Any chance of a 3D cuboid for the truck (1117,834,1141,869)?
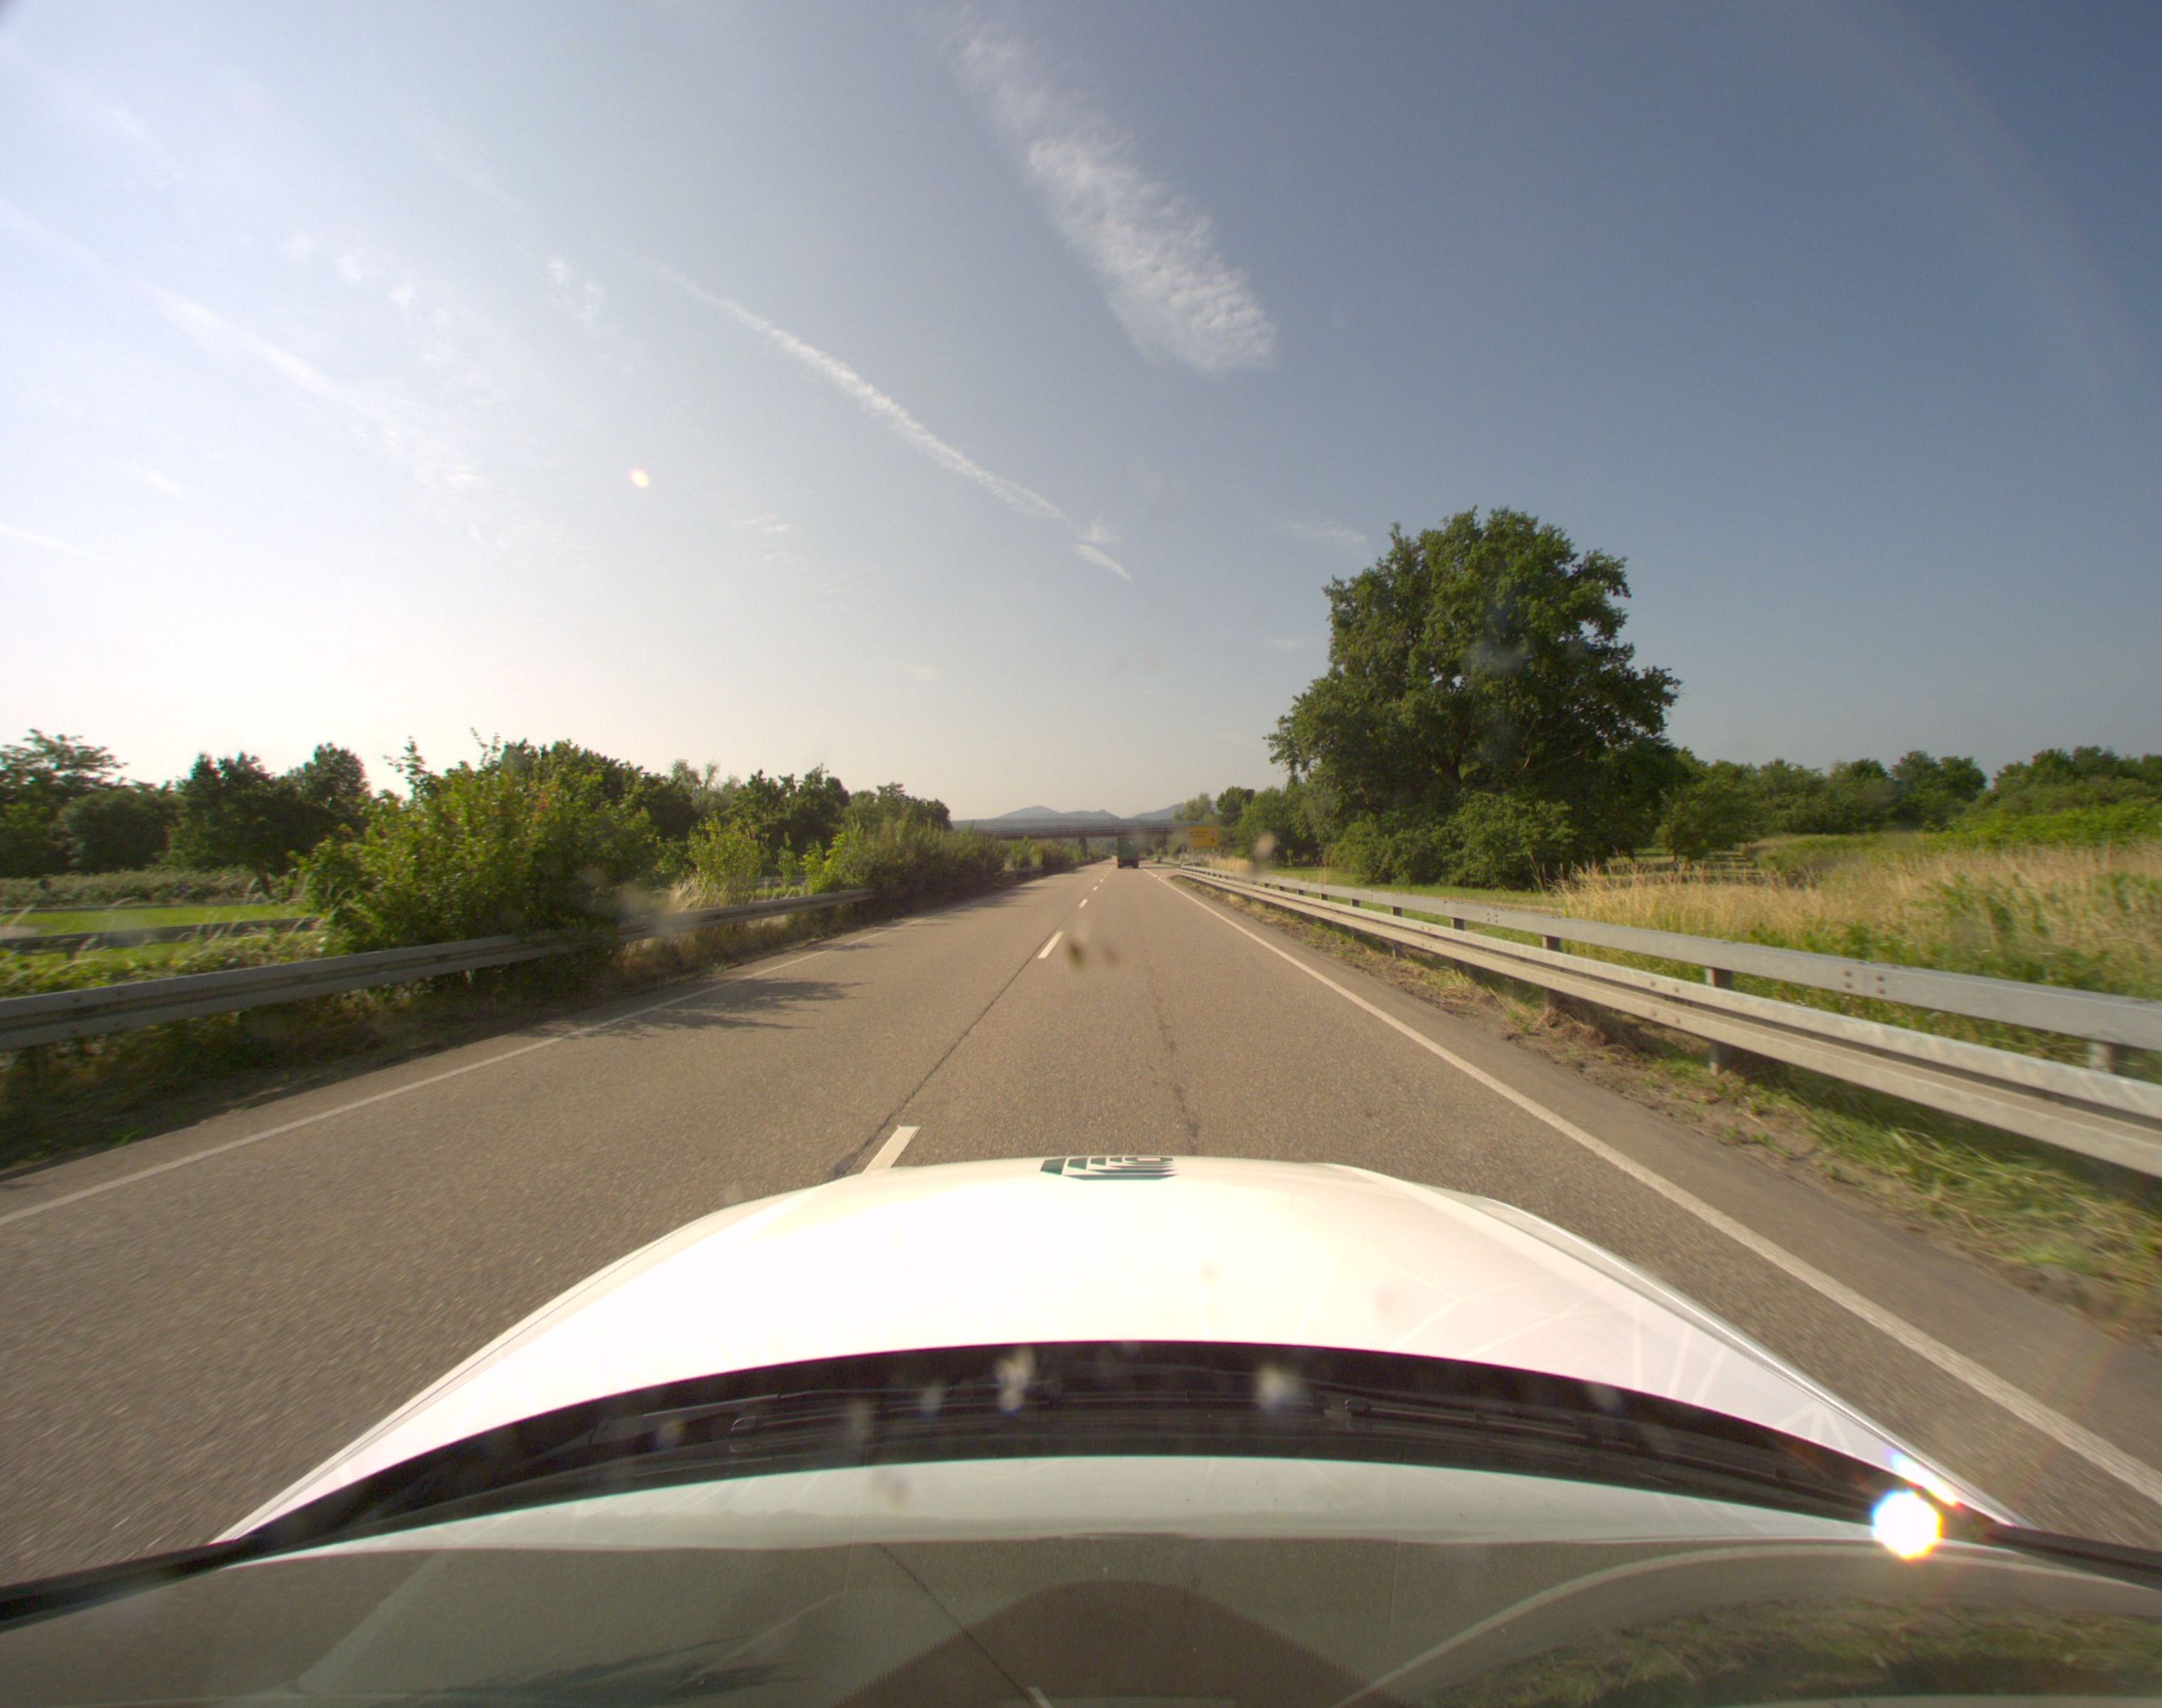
[{"bbox_3d":[5.725,-0.444,97.538,2.711,3.965,10.425,0,1,3],"label":"truck"}]
